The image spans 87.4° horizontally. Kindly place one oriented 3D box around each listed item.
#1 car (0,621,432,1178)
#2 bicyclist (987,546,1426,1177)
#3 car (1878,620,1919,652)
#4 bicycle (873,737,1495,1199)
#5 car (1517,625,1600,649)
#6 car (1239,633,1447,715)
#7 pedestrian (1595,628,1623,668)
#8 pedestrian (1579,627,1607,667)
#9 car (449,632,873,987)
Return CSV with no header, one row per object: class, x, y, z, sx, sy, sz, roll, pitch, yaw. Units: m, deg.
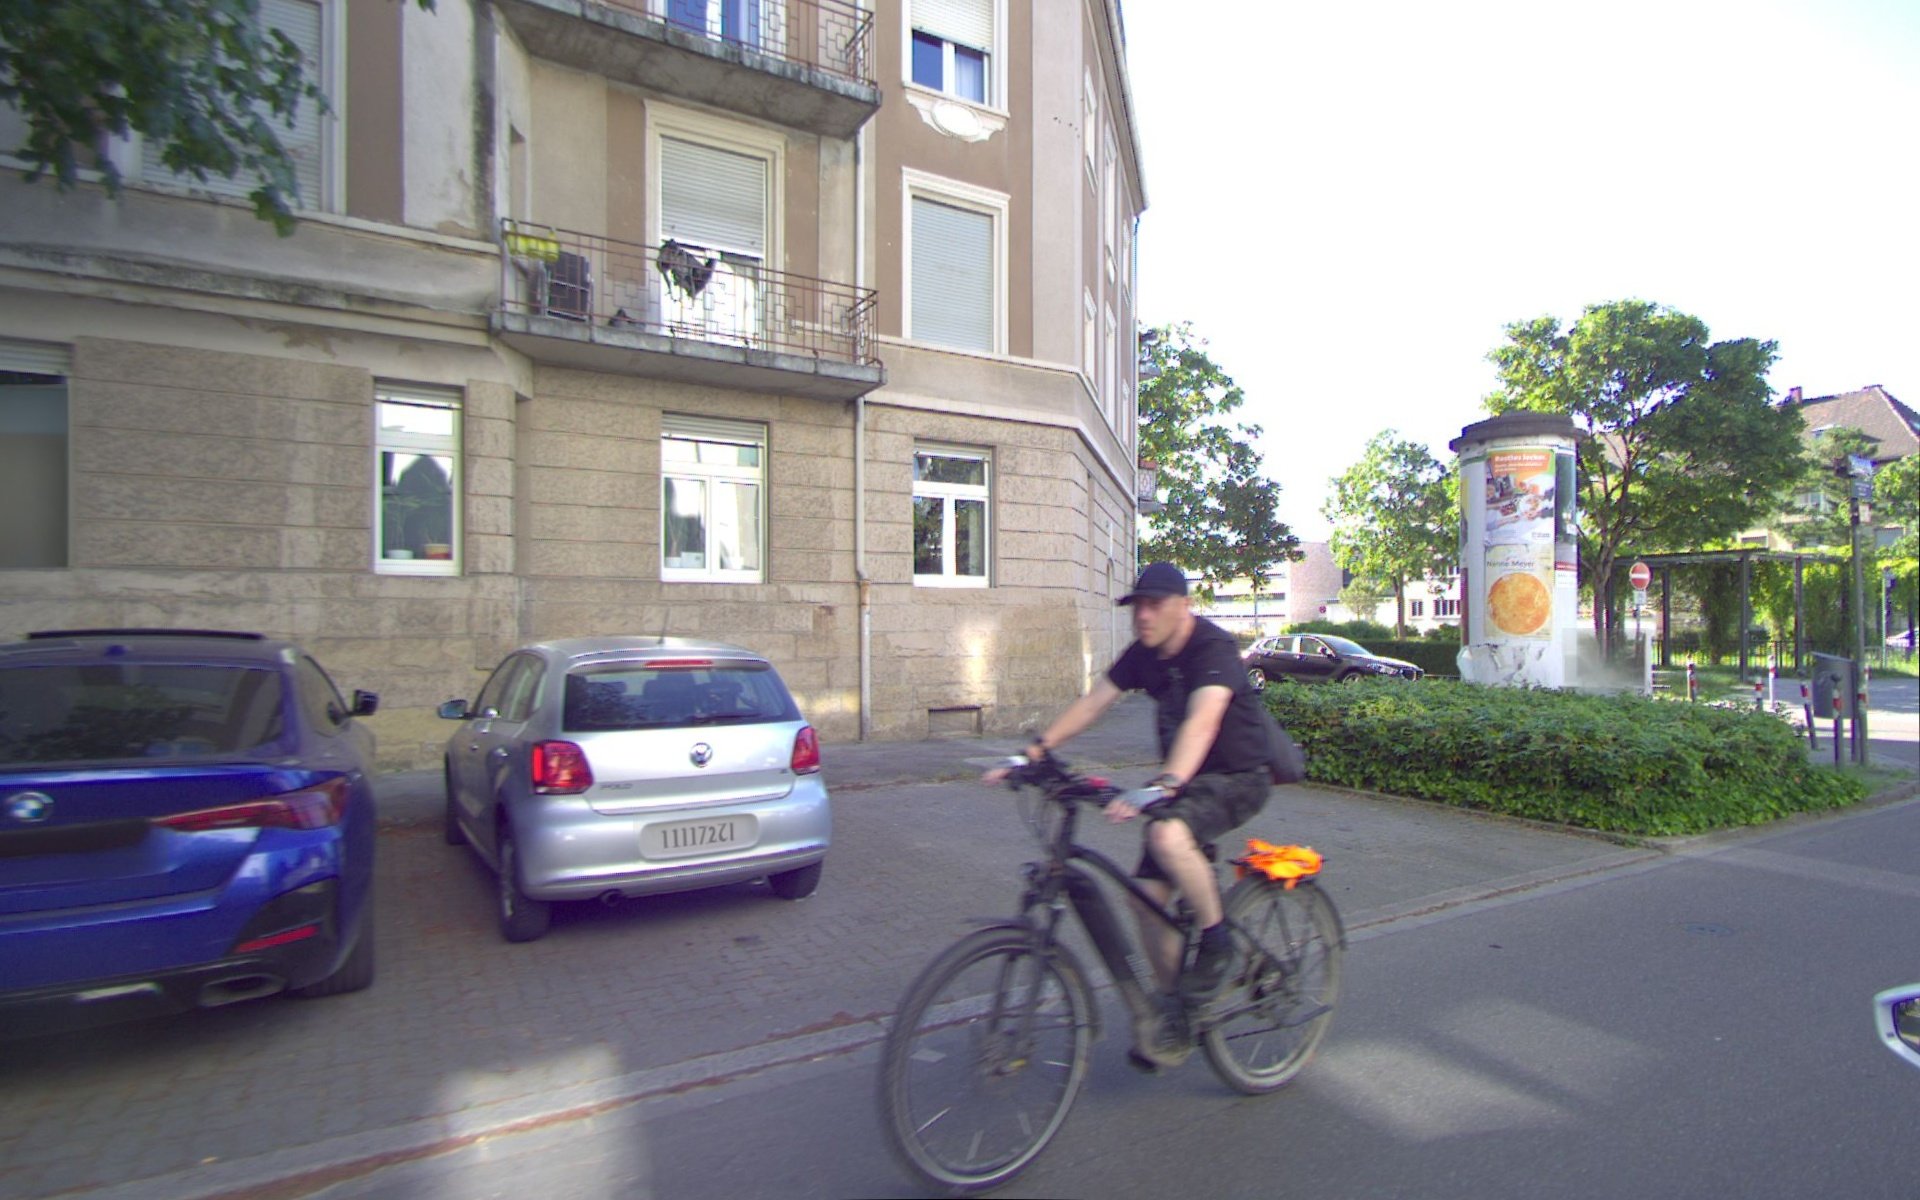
car,-3.761,0.897,4.804,1.848,1.498,4.449,2,-1,-32
bicyclist,0.750,0.662,3.096,1.124,1.557,0.718,1,-2,-31
car,44.725,1.689,45.740,1.979,1.394,3.963,2,0,-33
bicycle,0.732,1.052,3.070,1.868,1.093,0.716,1,-2,-31
car,36.258,2.253,60.917,1.846,1.394,3.964,1,-2,-33
car,8.487,1.615,22.609,1.787,1.503,4.120,9,-6,-29
pedestrian,19.801,1.450,30.662,0.477,1.184,0.543,2,0,-29
pedestrian,19.237,1.431,30.520,0.477,1.184,0.543,2,0,-29
car,-2.088,0.952,6.257,1.711,1.449,3.561,1,-1,-31
